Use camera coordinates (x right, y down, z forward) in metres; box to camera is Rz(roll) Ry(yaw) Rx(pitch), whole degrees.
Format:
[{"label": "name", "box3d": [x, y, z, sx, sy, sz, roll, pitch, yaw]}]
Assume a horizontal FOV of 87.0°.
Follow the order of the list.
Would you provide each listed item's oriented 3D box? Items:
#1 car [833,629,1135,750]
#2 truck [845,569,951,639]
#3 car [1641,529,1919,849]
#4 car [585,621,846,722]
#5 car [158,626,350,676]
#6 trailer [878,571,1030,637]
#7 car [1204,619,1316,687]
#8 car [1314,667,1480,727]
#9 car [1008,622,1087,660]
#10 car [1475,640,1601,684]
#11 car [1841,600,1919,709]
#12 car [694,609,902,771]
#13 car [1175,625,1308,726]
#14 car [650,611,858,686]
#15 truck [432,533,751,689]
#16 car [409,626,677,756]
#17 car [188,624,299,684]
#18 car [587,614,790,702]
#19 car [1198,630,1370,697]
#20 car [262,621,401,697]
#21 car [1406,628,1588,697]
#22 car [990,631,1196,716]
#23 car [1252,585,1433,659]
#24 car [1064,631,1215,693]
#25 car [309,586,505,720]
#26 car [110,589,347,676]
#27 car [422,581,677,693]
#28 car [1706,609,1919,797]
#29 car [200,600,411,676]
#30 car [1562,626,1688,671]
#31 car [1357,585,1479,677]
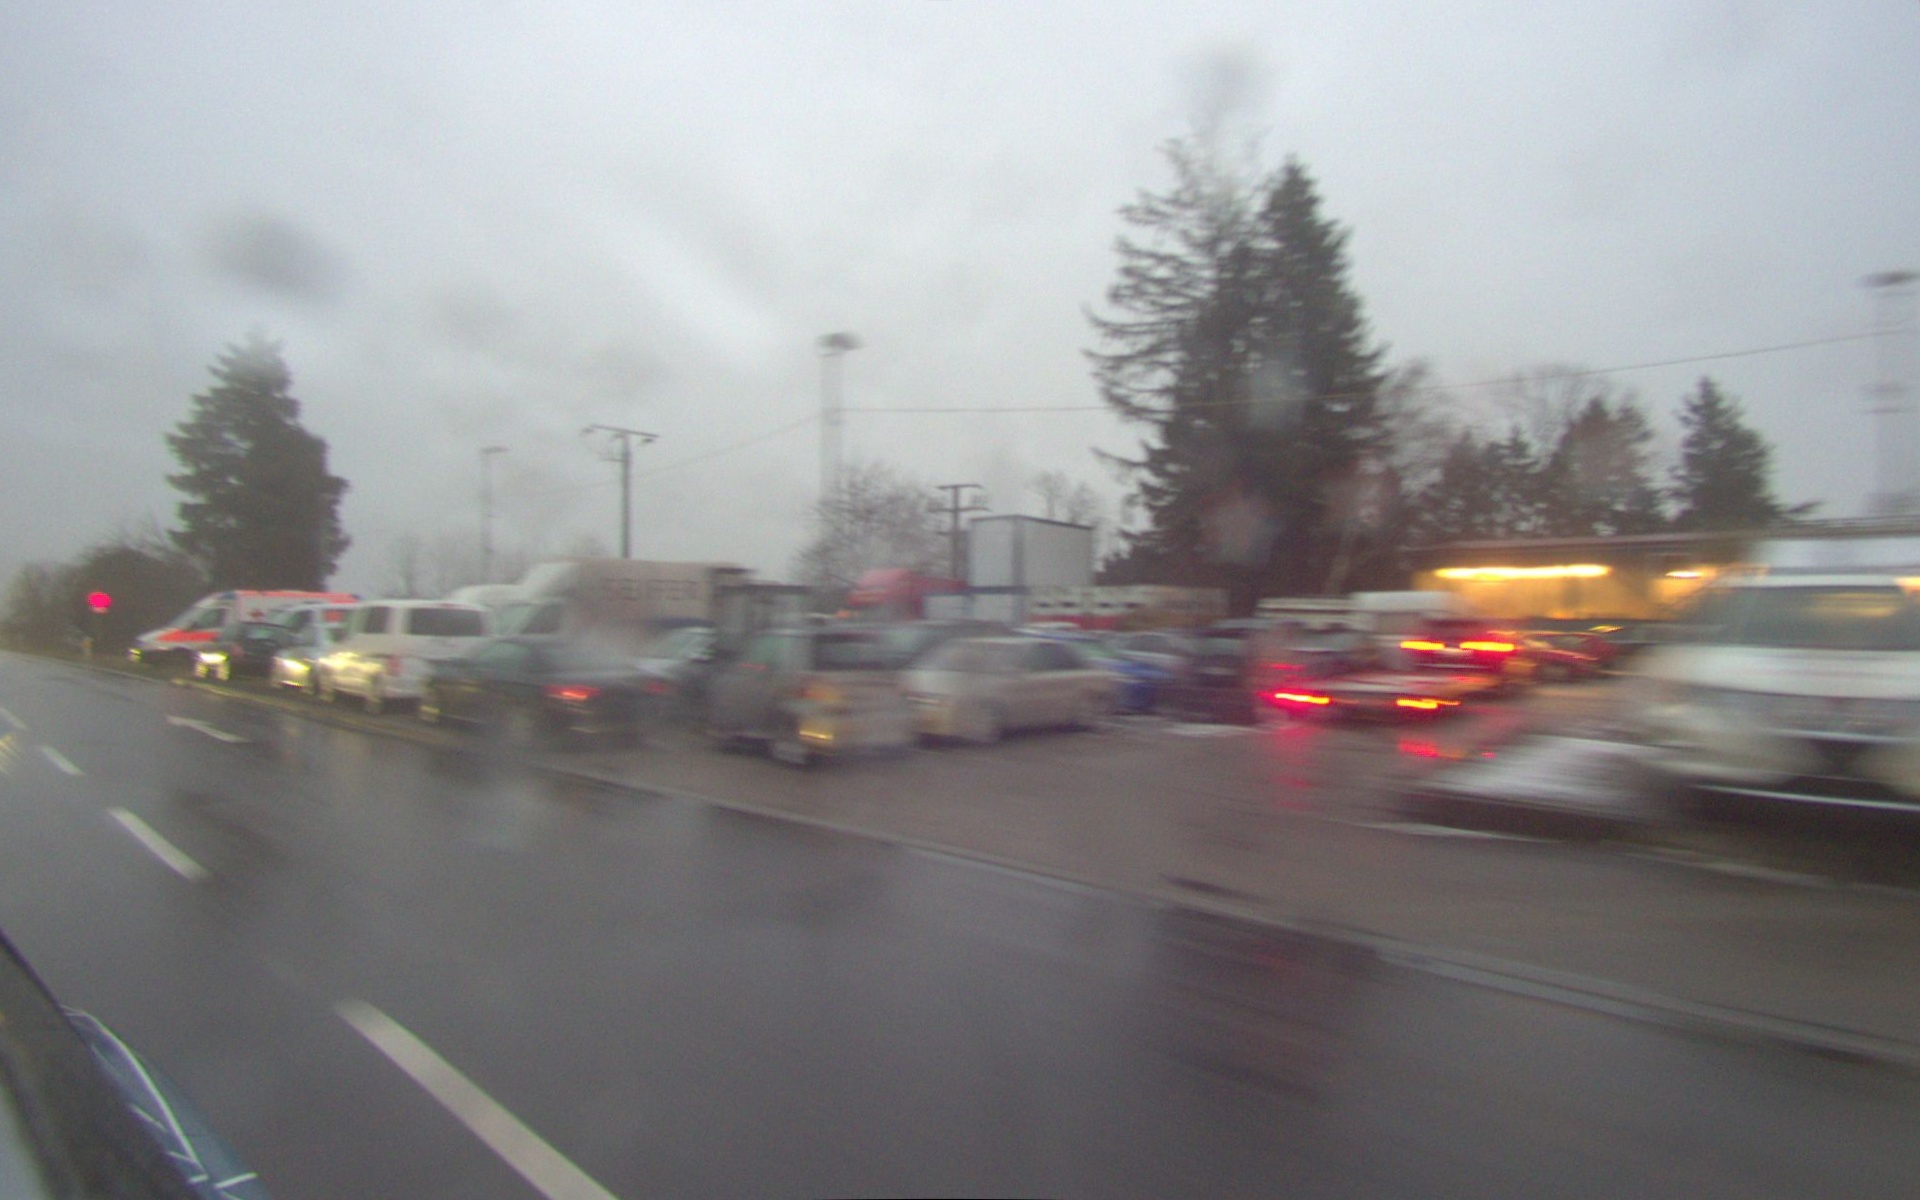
[{"label": "car", "box3d": [0.531, 1.175, 14.582, 1.782, 1.448, 4.705, -1, -3, 41]}, {"label": "truck", "box3d": [-2.503, 0.178, 41.964, 2.224, 2.717, 4.678, -1, 0, 29]}, {"label": "car", "box3d": [6.319, 0.478, 7.231, 2.008, 1.689, 4.490, -1, -1, 39]}, {"label": "car", "box3d": [-3.986, 1.172, 16.938, 1.810, 1.489, 3.867, -1, -4, 43]}, {"label": "car", "box3d": [-22.459, 1.613, 32.336, 1.955, 1.494, 4.697, -2, -3, 43]}, {"label": "trailer", "box3d": [0.014, 0.167, 46.575, 2.210, 2.694, 10.405, -1, 0, 29]}, {"label": "car", "box3d": [8.161, 1.393, 27.391, 1.688, 1.696, 3.645, -1, -2, 38]}, {"label": "car", "box3d": [6.955, 1.520, 16.160, 2.262, 0.803, 0.982, -1, -2, 39]}, {"label": "car", "box3d": [3.025, 1.377, 34.736, 1.343, 1.227, 2.772, -1, -1, 40]}, {"label": "car", "box3d": [16.877, 1.781, 29.608, 2.980, 1.181, 1.404, -1, -1, 41]}, {"label": "car", "box3d": [13.288, 0.676, 12.254, 1.647, 1.394, 3.632, 0, -1, -14]}, {"label": "car", "box3d": [-1.974, 0.968, 11.875, 1.157, 1.657, 2.876, 1, -2, -38]}, {"label": "car", "box3d": [4.923, 1.251, 17.483, 1.346, 1.560, 3.132, -2, -3, 33]}, {"label": "car", "box3d": [-4.186, 0.942, 21.043, 1.813, 1.388, 4.008, -1, -1, 39]}, {"label": "truck", "box3d": [-8.401, 0.272, 23.842, 2.333, 3.166, 6.786, -2, -2, 41]}, {"label": "car", "box3d": [-5.656, 1.097, 13.464, 4.255, 1.331, 1.553, 1, -1, 41]}, {"label": "car", "box3d": [-18.332, 1.374, 25.848, 3.743, 1.431, 1.632, -3, -4, 44]}, {"label": "car", "box3d": [-6.014, 1.218, 22.751, 2.023, 1.746, 4.008, -1, -1, 39]}, {"label": "car", "box3d": [7.371, 1.408, 23.131, 3.430, 1.416, 1.520, -2, -2, 36]}, {"label": "car", "box3d": [-13.119, 1.171, 21.047, 1.631, 1.423, 3.842, 1, -2, -45]}, {"label": "car", "box3d": [11.243, 1.299, 21.275, 3.164, 1.342, 1.393, -2, -3, 39]}, {"label": "car", "box3d": [2.392, 1.303, 18.849, 1.646, 1.409, 3.652, 2, -3, -40]}, {"label": "car", "box3d": [12.649, 0.745, 33.692, 5.282, 2.279, 1.974, -1, -1, 39]}, {"label": "car", "box3d": [4.130, 1.416, 23.431, 3.160, 1.342, 1.395, -2, -3, 35]}, {"label": "car", "box3d": [-9.694, 0.842, 17.578, 1.814, 2.028, 4.486, 1, -1, -45]}, {"label": "car", "box3d": [-24.372, 1.117, 33.957, 2.176, 2.652, 6.088, -2, -3, 43]}, {"label": "car", "box3d": [-10.756, 0.957, 27.007, 2.195, 2.658, 5.968, -2, -2, 41]}, {"label": "car", "box3d": [9.383, 0.926, 9.491, 3.705, 1.689, 1.652, -1, -1, 41]}, {"label": "car", "box3d": [-20.115, 1.192, 31.311, 2.058, 2.167, 5.089, -2, -3, 43]}, {"label": "car", "box3d": [20.925, 1.525, 31.877, 3.164, 1.342, 1.393, -2, -3, 39]}, {"label": "car", "box3d": [12.609, 0.807, 27.723, 2.262, 2.298, 4.193, -2, -1, 36]}]
